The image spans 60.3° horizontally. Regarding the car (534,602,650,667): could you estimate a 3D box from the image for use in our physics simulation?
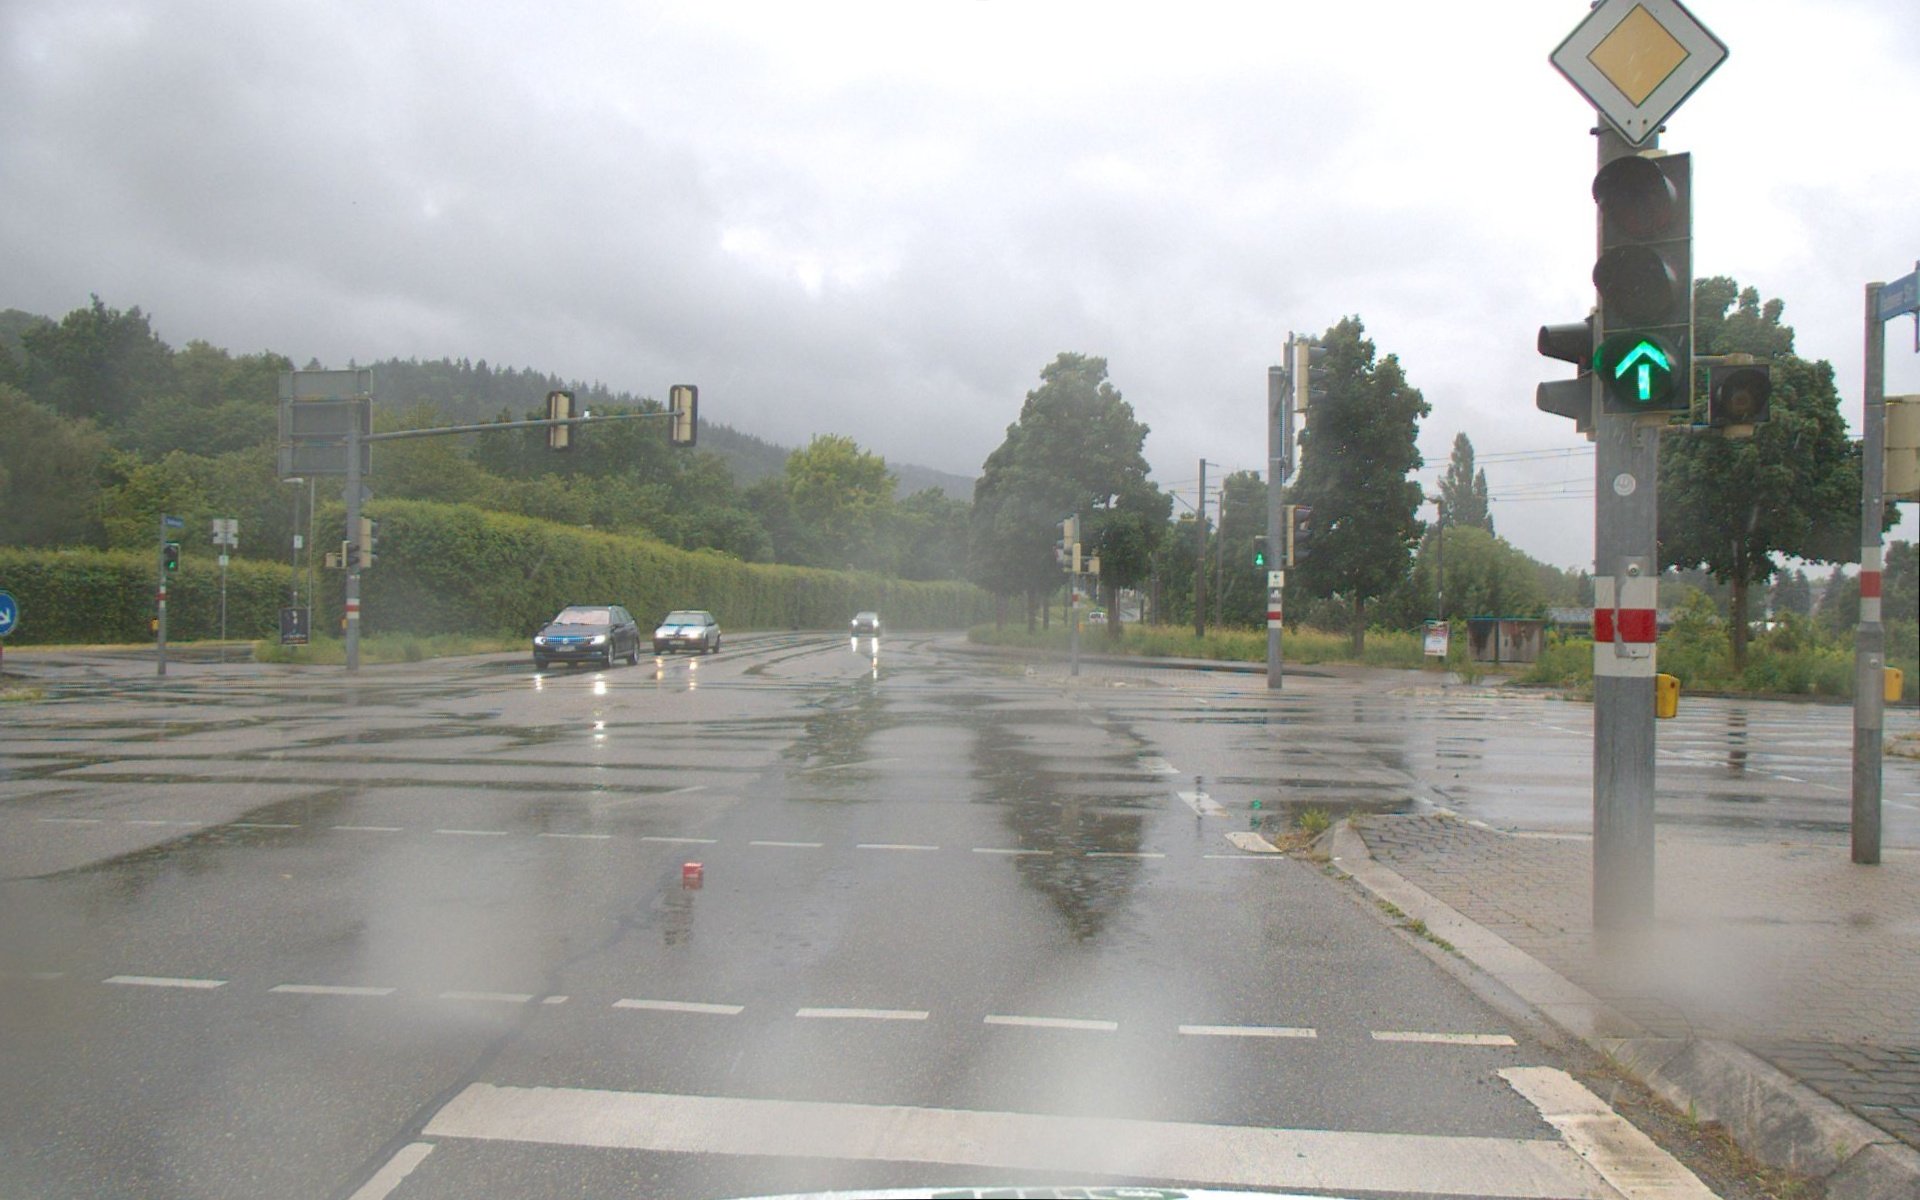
[{"bbox_3d":[-8.976,0.803,40.703,1.673,1.491,4.454,0,0,3],"label":"car"}]

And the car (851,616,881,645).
[{"bbox_3d":[-5.923,1.885,104.126,1.749,1.530,4.059,3,2,-3],"label":"car"}]

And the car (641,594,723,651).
[{"bbox_3d":[-8.923,0.687,53.461,1.995,1.738,4.065,1,0,-1],"label":"car"}]

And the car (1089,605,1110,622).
[{"bbox_3d":[16.546,1.589,195.757,1.912,1.937,4.123,0,0,13],"label":"car"}]
